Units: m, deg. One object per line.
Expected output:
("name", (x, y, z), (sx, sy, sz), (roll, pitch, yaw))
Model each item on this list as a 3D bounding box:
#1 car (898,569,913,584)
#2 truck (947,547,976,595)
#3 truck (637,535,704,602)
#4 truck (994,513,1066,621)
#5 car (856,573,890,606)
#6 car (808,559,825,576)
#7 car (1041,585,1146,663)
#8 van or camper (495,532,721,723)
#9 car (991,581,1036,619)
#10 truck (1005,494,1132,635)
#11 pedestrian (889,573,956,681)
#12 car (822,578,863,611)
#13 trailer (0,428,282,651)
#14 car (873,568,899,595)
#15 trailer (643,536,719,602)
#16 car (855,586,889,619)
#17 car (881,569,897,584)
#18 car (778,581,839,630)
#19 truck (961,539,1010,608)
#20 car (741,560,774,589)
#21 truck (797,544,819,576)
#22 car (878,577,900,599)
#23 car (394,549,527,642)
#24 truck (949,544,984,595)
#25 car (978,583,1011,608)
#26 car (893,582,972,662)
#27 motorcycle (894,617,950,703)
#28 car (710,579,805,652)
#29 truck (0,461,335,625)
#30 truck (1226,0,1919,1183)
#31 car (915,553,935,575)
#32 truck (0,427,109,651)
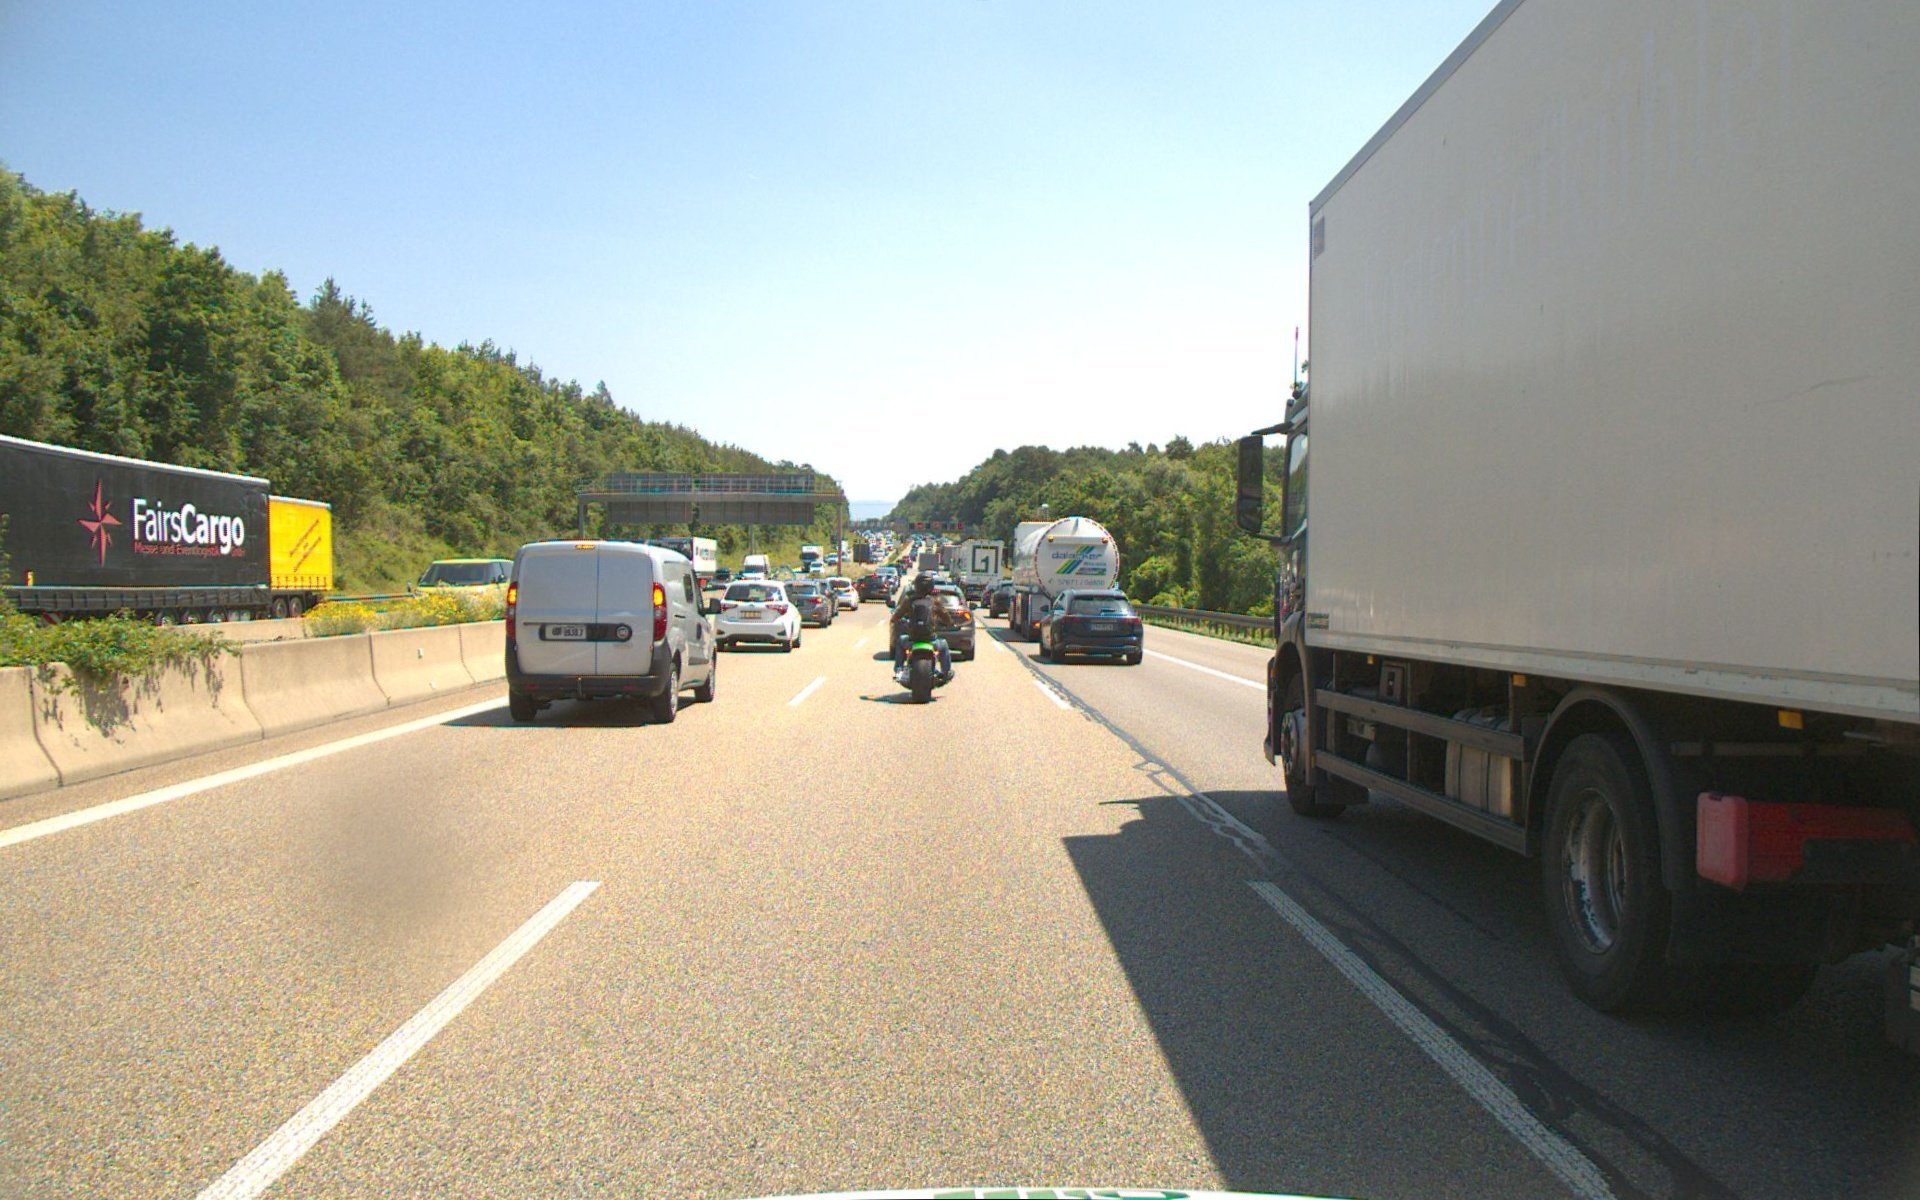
("car", (-7.747, -3.343, 235.435), (1.953, 2.049, 3.999), (1, 1, -1))
("truck", (0.133, -3.218, 185.941), (2.972, 5.229, 9.981), (1, 1, -1))
("truck", (-21.037, -2.220, 120.666), (3.650, 4.607, 7.323), (-2, 0, -2))
("truck", (2.429, -1.105, 58.352), (1.954, 3.584, 4.748), (-2, 0, -3))
("car", (-5.153, -0.640, 97.982), (1.842, 1.892, 3.999), (1, 1, -1))
("car", (-19.065, -4.339, 219.832), (1.842, 2.049, 4.467), (-3, 0, -1))
("car", (2.718, 0.450, 34.517), (1.791, 1.496, 3.999), (1, 1, -1))
("van or camper", (-3.870, 0.290, 18.872), (1.759, 1.925, 4.159), (1, 0, -1))
("car", (2.284, -0.022, 71.762), (1.751, 1.583, 3.803), (0, 1, -1))
("truck", (3.061, -0.947, 49.380), (2.927, 3.735, 9.285), (-2, 0, -1))
("pedestrian", (-0.488, 0.346, 21.982), (0.832, 1.385, 0.961), (-2, 0, 0))
("car", (-5.407, -0.272, 76.657), (1.665, 1.504, 3.999), (0, 1, -1))
("trailer", (-18.859, -1.025, 35.740), (2.847, 4.043, 13.884), (-2, 0, -1))
("car", (-6.060, -1.500, 135.704), (1.890, 2.049, 3.999), (-2, 0, -1))
("trailer", (-21.135, -2.231, 126.161), (3.649, 4.607, 13.327), (-2, 0, -1))
("car", (-5.690, 0.169, 107.484), (1.953, 2.049, 3.999), (-2, 0, -1))
("car", (-9.352, -3.087, 217.065), (1.953, 2.049, 3.999), (0, 1, -1))
("car", (-4.791, 0.157, 52.702), (1.665, 1.504, 3.999), (0, 1, -1))
("truck", (1.724, -1.844, 116.796), (2.972, 4.621, 9.981), (1, 1, -1))
("car", (-16.941, -2.128, 138.769), (1.953, 2.418, 7.363), (0, 1, -1))
("truck", (-23.793, -6.220, 259.163), (2.709, 4.823, 10.469), (0, 1, -1))
("car", (-6.861, -1.151, 159.322), (1.953, 2.049, 3.999), (-2, 0, -1))
("car", (-12.125, -0.102, 40.441), (1.842, 2.049, 4.467), (-3, 0, -1))
("truck", (0.552, -2.816, 155.630), (2.972, 4.621, 9.981), (1, 1, -1))
("car", (1.940, -0.262, 93.947), (1.751, 1.398, 3.803), (0, 1, -1))
("car", (-0.592, 0.421, 34.415), (1.502, 1.536, 3.999), (-2, 0, -2))
("motorcycle", (-0.484, 0.764, 21.884), (0.677, 1.033, 2.121), (1, 0, 0))
("car", (-4.394, 0.302, 36.391), (1.665, 1.504, 3.999), (0, 1, -1))
("truck", (-22.959, -1.374, 49.166), (2.976, 4.052, 16.261), (-1, 0, -1))
("truck", (3.510, -0.634, 7.896), (2.634, 3.943, 9.778), (-2, 0, -1))
("car", (-4.172, -4.318, 197.936), (2.453, 2.632, 5.015), (0, 1, -1))
("truck", (-18.729, -1.055, 29.760), (2.847, 4.043, 7.767), (-2, 0, -1))
